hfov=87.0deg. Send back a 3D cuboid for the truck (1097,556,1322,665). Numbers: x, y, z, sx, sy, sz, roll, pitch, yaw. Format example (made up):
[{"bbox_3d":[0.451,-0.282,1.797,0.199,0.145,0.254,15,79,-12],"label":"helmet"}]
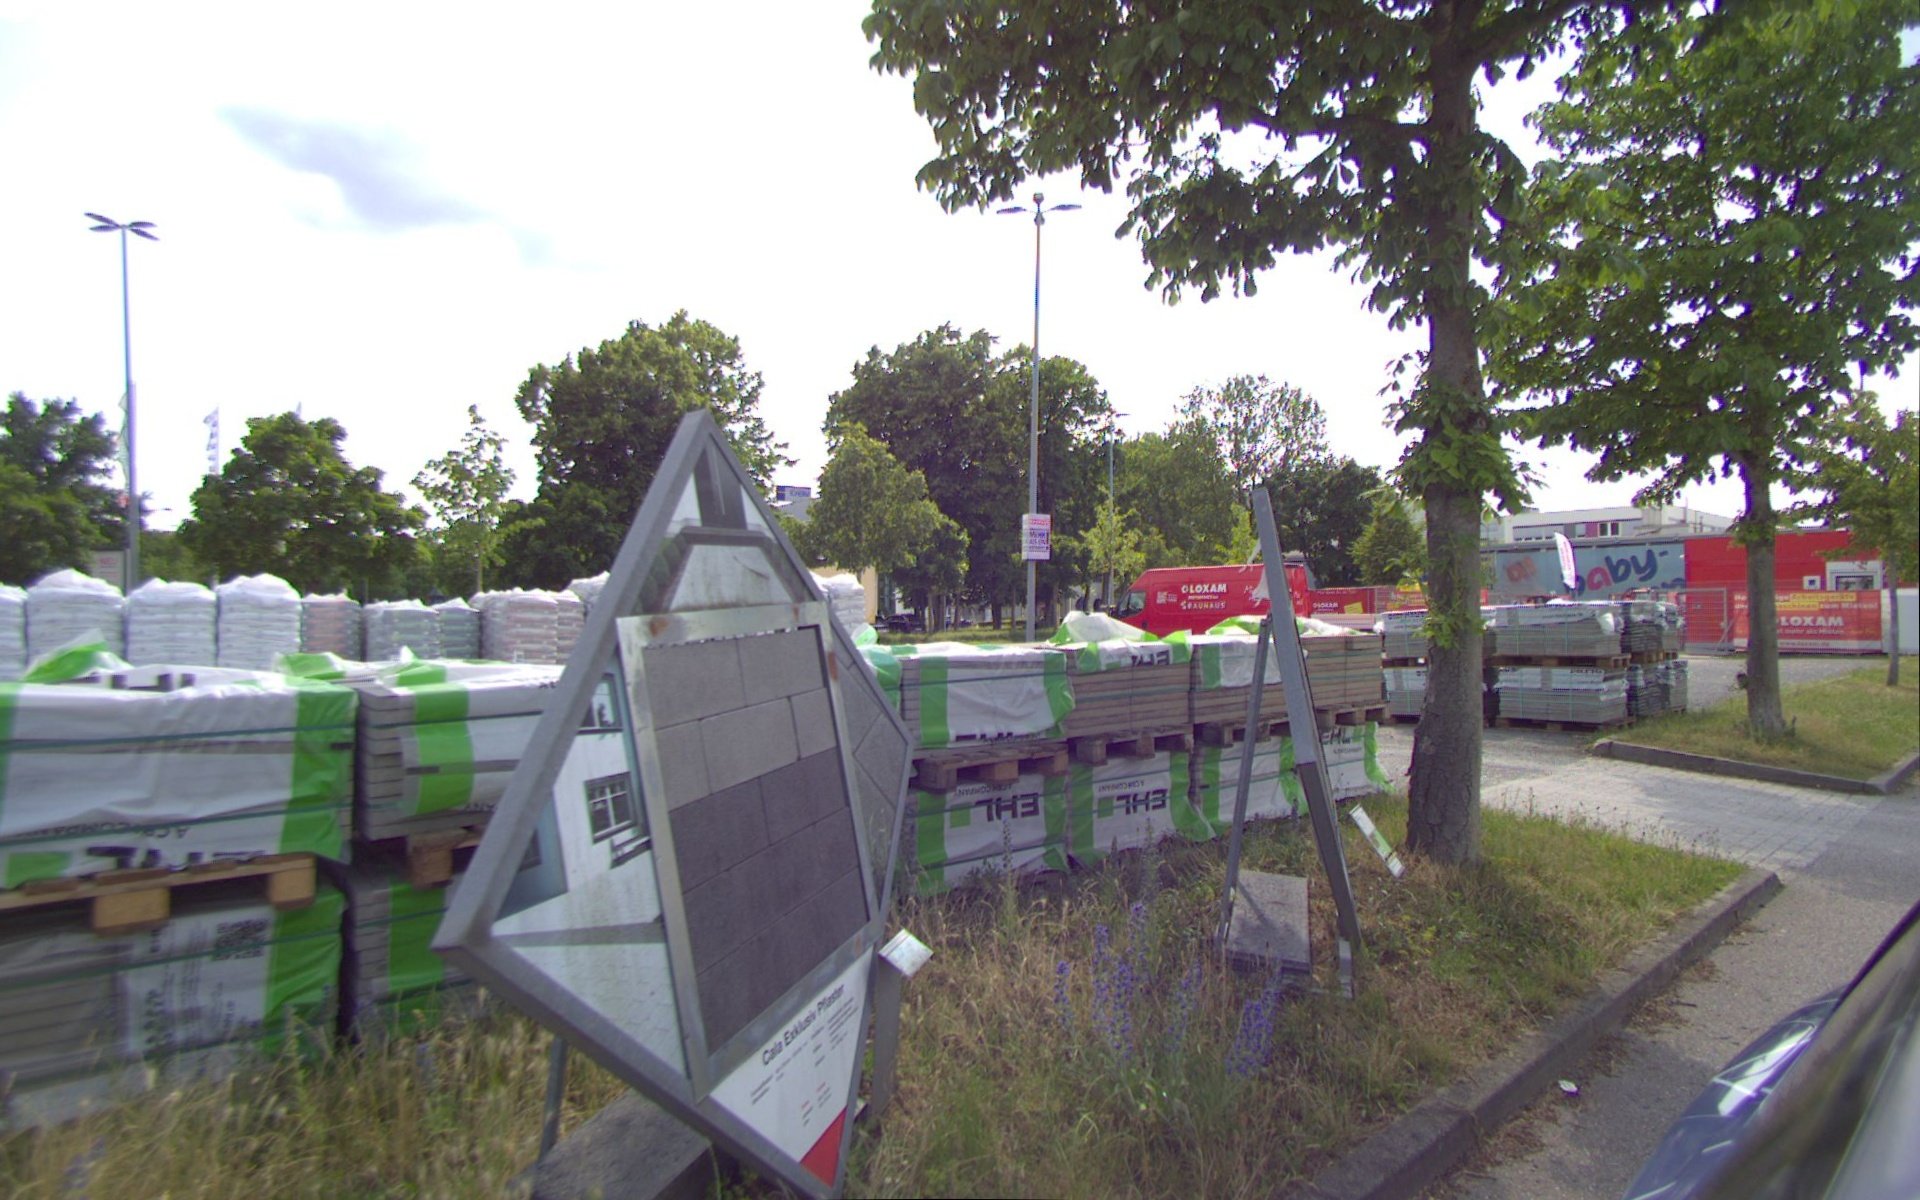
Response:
[{"bbox_3d":[6.323,0.266,26.236,2.081,2.547,5.433,1,-1,-43],"label":"truck"}]

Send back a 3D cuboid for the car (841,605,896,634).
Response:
[{"bbox_3d":[-5.600,1.136,61.673,1.868,1.677,3.486,0,0,-37],"label":"car"}]

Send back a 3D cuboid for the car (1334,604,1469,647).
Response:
[{"bbox_3d":[15.654,0.866,36.051,4.133,1.432,1.592,0,0,45],"label":"car"}]

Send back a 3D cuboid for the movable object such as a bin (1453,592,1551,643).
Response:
[{"bbox_3d":[20.729,0.651,38.787,1.364,1.867,3.008,1,-1,-40],"label":"movable object such as a bin"}]

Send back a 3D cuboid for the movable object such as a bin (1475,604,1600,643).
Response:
[{"bbox_3d":[23.961,0.937,42.043,3.027,1.395,3.585,-2,1,-37],"label":"movable object such as a bin"}]

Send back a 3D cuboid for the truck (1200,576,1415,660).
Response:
[{"bbox_3d":[10.317,0.507,30.519,2.136,2.284,5.850,1,-1,-43],"label":"truck"}]

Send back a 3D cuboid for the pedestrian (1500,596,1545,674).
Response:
[{"bbox_3d":[12.735,0.765,22.910,0.863,1.713,0.600,-1,0,-39],"label":"pedestrian"}]

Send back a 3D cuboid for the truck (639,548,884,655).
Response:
[{"bbox_3d":[-7.324,0.066,38.424,8.873,3.644,2.727,0,-1,-39],"label":"truck"}]
